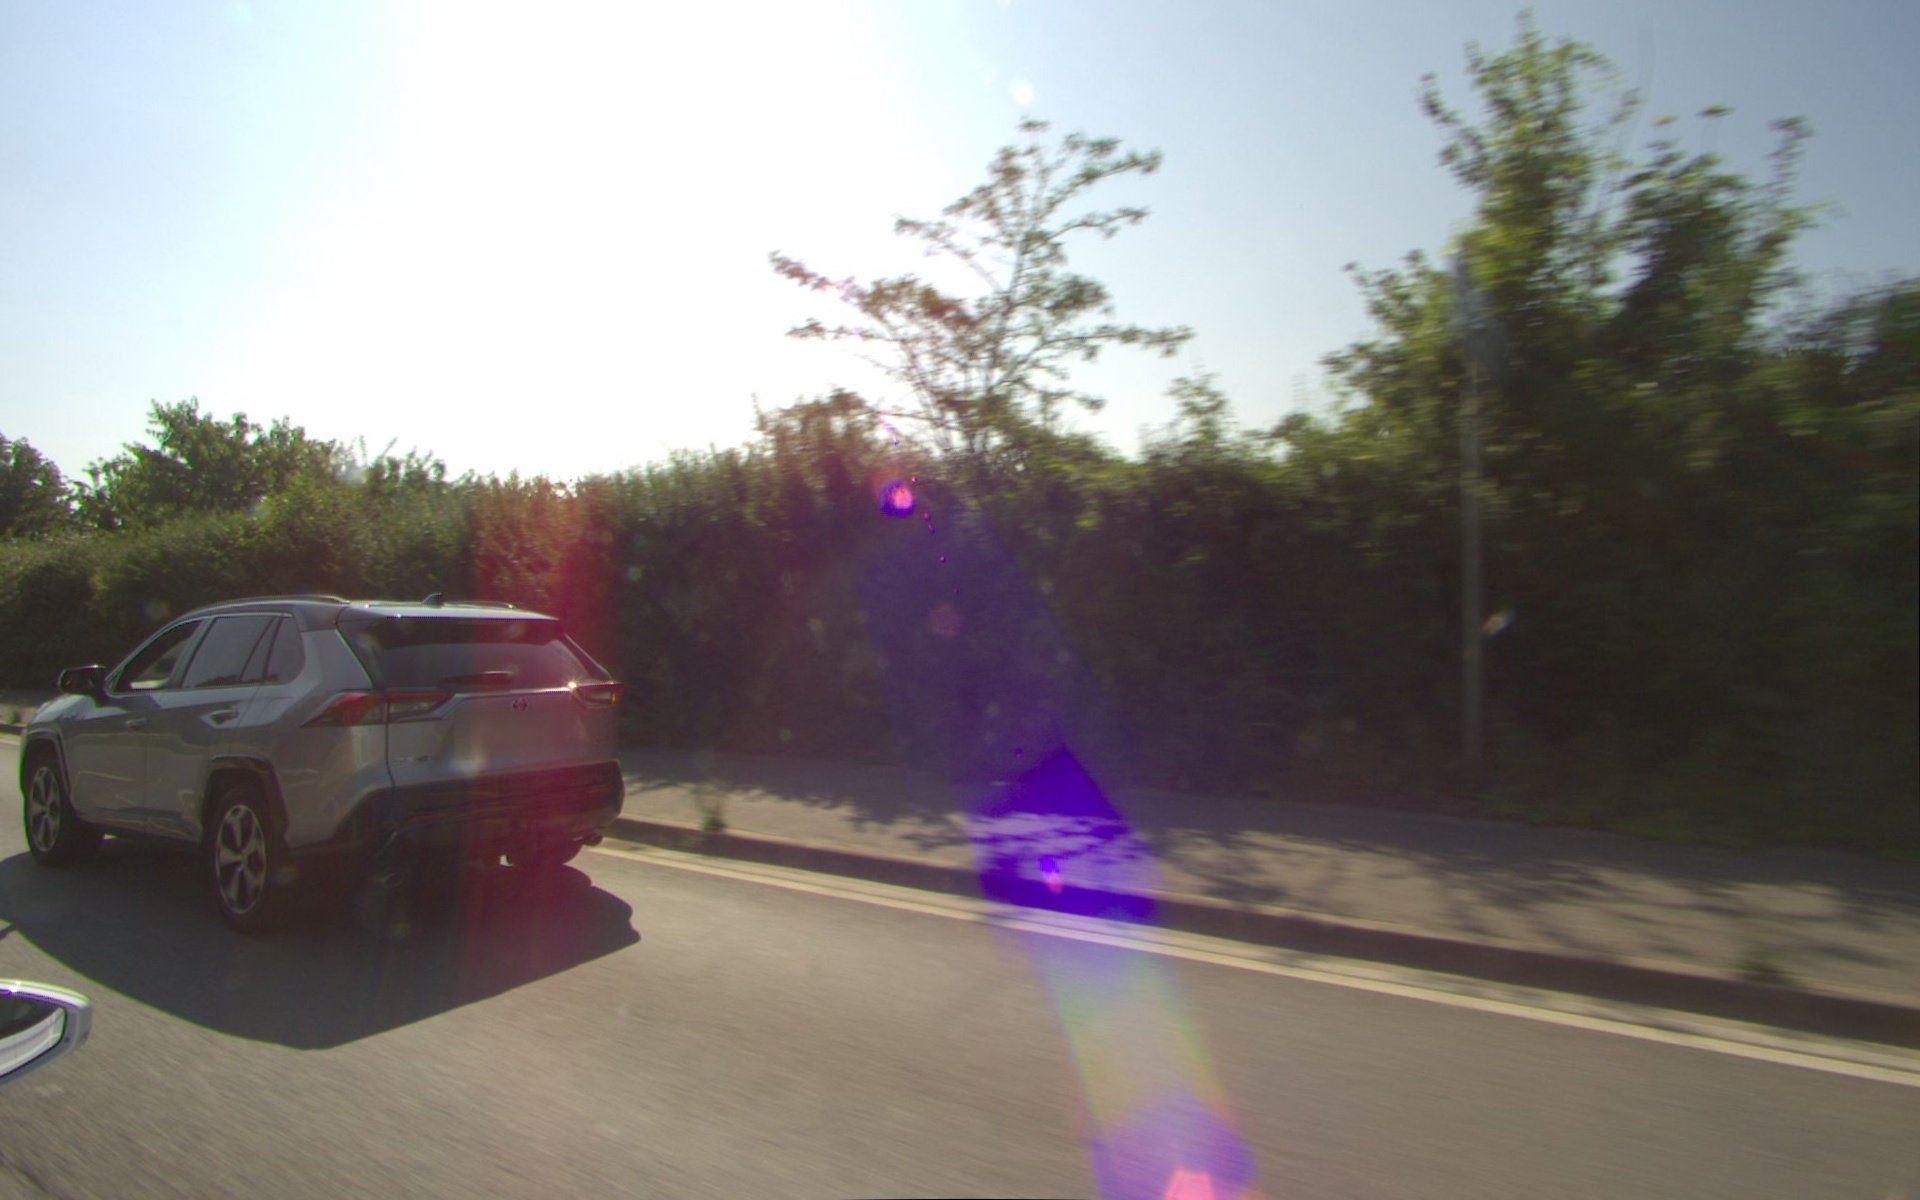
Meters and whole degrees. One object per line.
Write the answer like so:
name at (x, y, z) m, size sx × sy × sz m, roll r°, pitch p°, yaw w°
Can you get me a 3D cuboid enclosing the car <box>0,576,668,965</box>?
car at (-4.205, 0.791, 6.427) m, size 4.616 × 1.701 × 1.899 m, roll -1°, pitch -1°, yaw 32°
